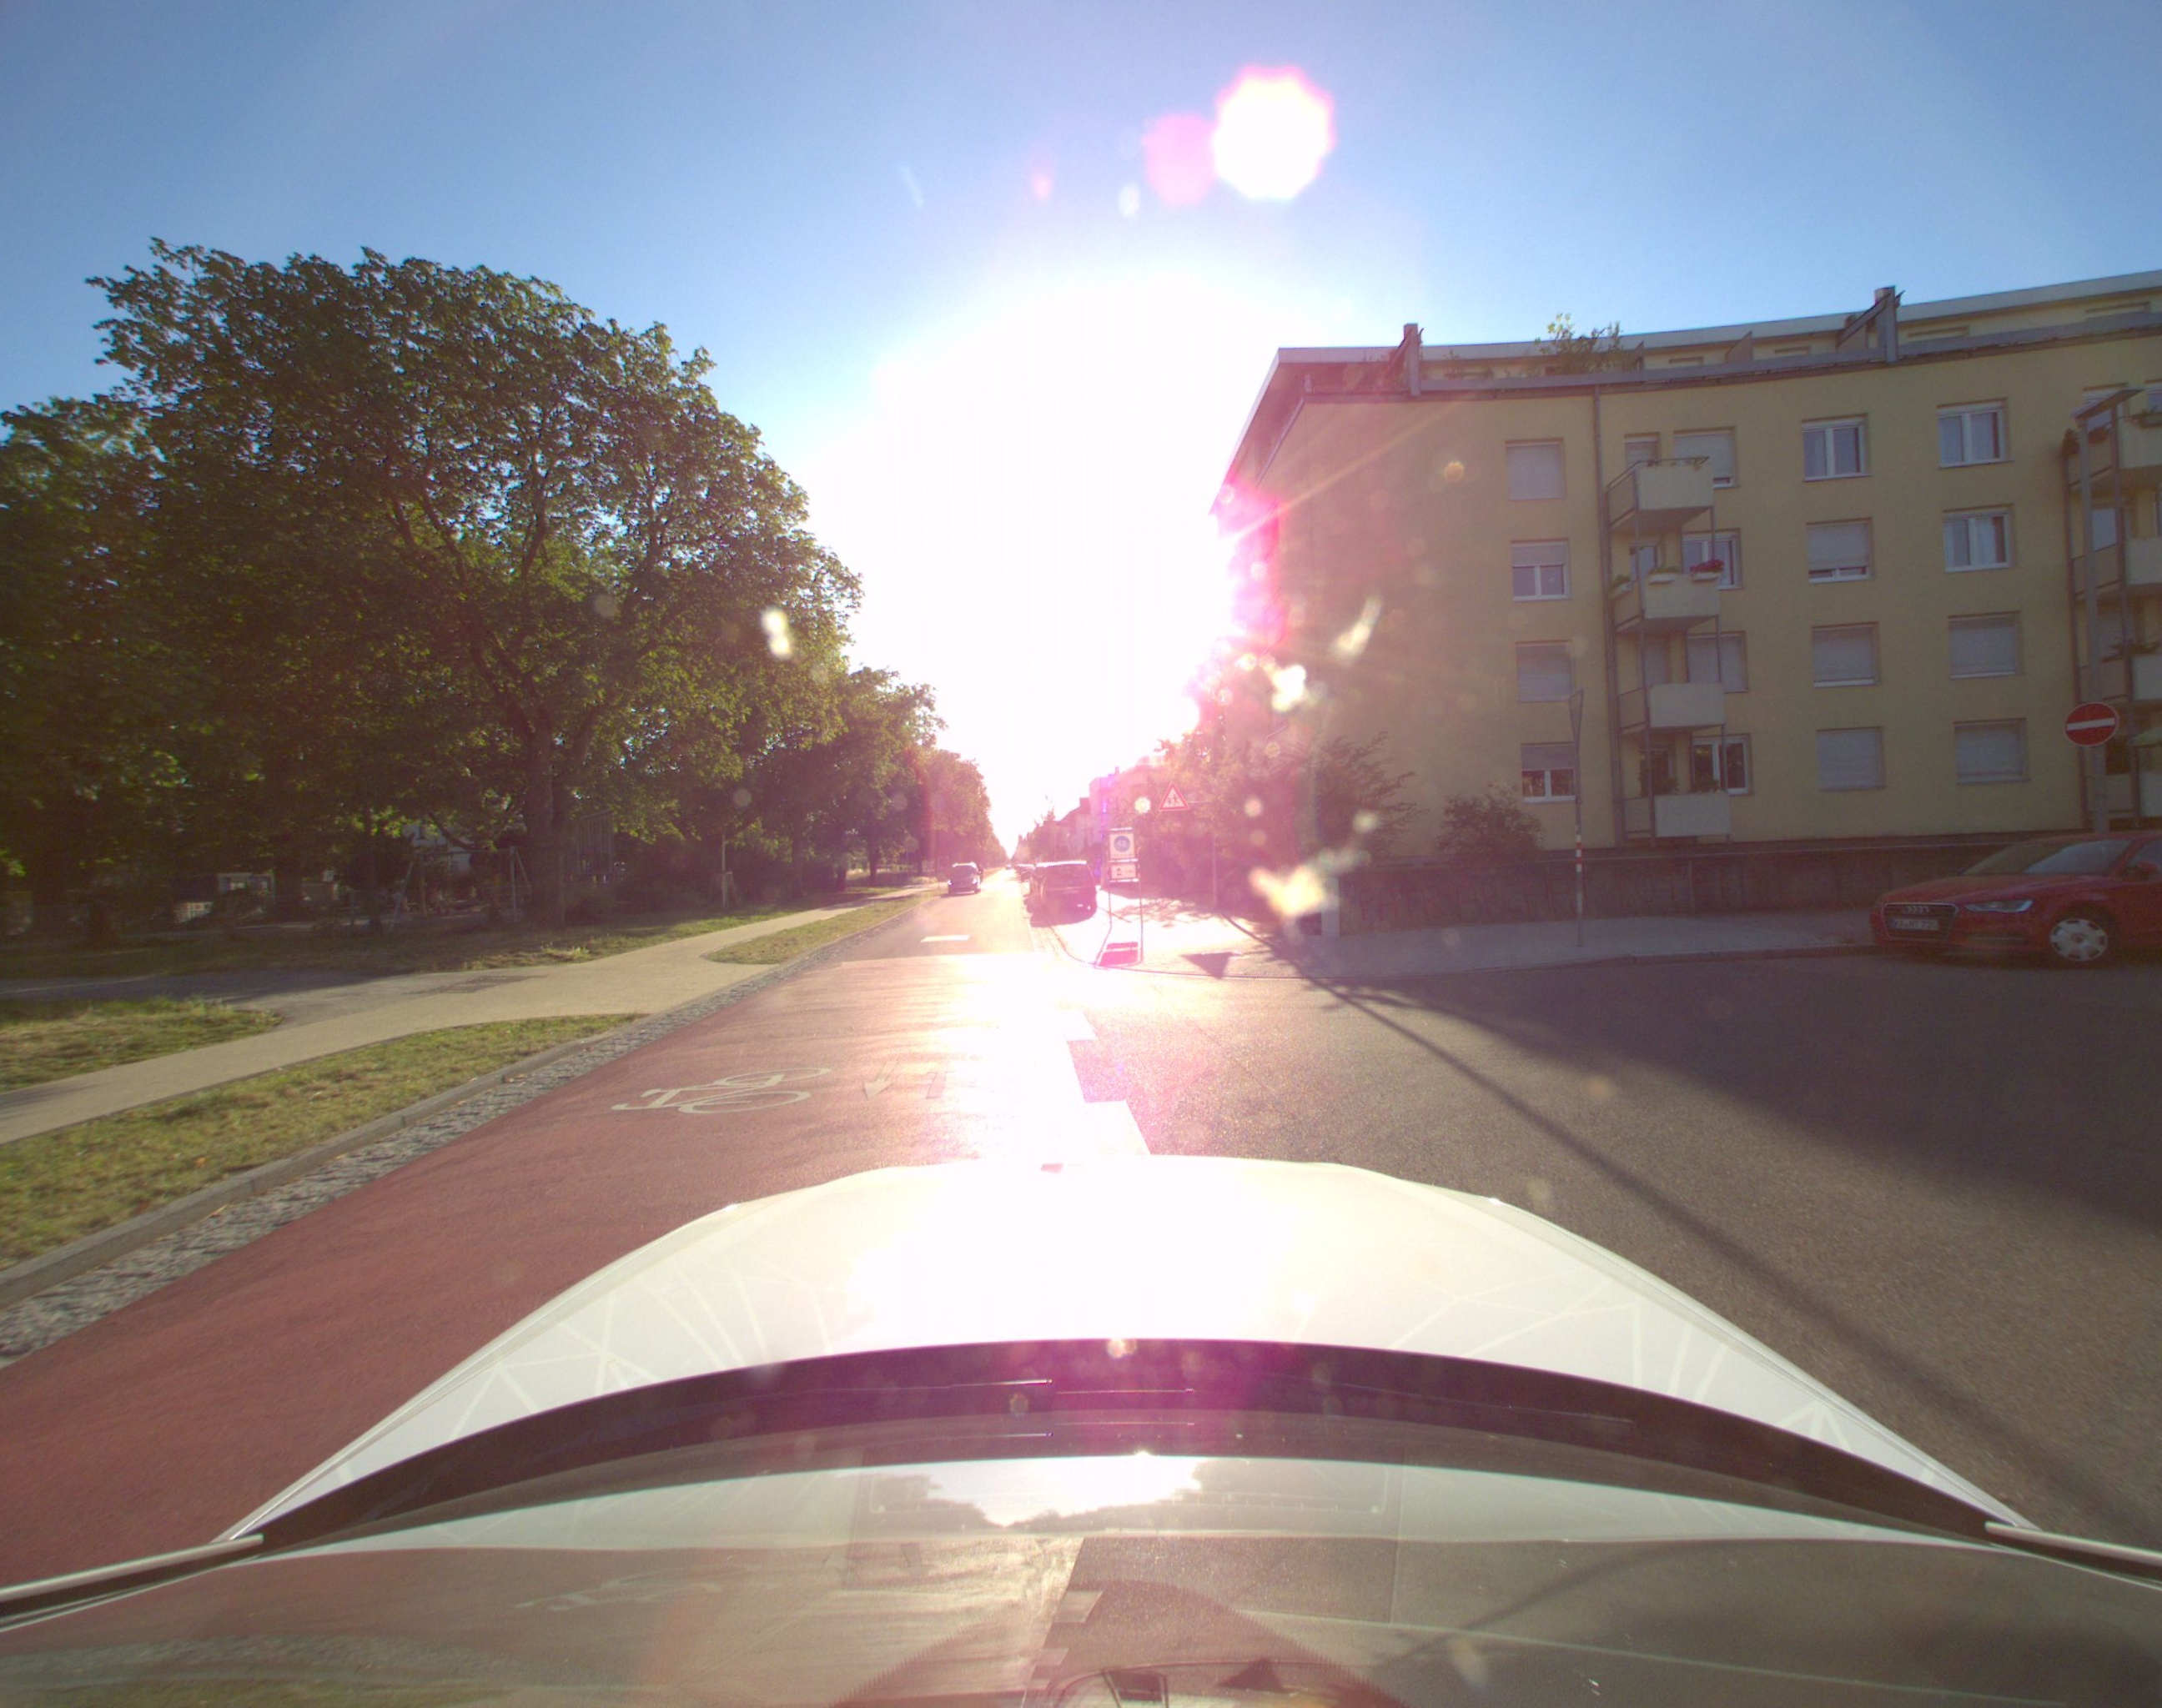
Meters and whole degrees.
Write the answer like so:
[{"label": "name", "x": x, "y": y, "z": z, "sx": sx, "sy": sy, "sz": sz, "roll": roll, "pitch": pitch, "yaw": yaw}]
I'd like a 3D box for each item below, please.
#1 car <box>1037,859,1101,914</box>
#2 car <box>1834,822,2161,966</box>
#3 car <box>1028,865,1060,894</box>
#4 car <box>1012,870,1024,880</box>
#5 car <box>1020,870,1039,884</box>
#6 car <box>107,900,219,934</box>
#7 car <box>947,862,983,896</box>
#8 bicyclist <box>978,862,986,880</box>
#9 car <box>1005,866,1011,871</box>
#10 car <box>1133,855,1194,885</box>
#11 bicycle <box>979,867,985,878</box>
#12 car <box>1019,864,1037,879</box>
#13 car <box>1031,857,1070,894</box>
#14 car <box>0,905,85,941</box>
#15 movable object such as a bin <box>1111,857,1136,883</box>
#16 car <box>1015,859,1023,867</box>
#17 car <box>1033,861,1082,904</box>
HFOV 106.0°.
[{"label": "car", "x": -0.485, "y": 1.032, "z": 27.687, "sx": 1.708, "sy": 1.610, "sz": 4.159, "roll": -4, "pitch": 0, "yaw": -6}, {"label": "car", "x": 11.427, "y": 0.411, "z": 9.317, "sx": 4.024, "sy": 1.420, "sz": 1.787, "roll": -2, "pitch": -3, "yaw": -3}, {"label": "car", "x": -2.065, "y": 1.367, "z": 44.640, "sx": 1.561, "sy": 1.390, "sz": 4.367, "roll": -4, "pitch": 0, "yaw": -5}, {"label": "car", "x": -9.993, "y": 3.325, "z": 128.484, "sx": 1.735, "sy": 1.449, "sz": 4.187, "roll": -4, "pitch": -1, "yaw": -6}, {"label": "car", "x": -5.117, "y": 2.273, "z": 81.104, "sx": 1.772, "sy": 1.288, "sz": 4.265, "roll": -2, "pitch": 0, "yaw": -5}, {"label": "car", "x": -46.308, "y": 3.160, "z": 41.208, "sx": 1.519, "sy": 1.367, "sz": 3.747, "roll": -2, "pitch": 0, "yaw": -4}, {"label": "car", "x": -6.980, "y": 1.486, "z": 49.210, "sx": 1.842, "sy": 1.847, "sz": 4.563, "roll": -4, "pitch": -1, "yaw": -6}, {"label": "bicyclist", "x": -9.807, "y": 1.666, "z": 80.472, "sx": 0.680, "sy": 1.673, "sz": 1.170, "roll": -3, "pitch": -1, "yaw": -6}, {"label": "car", "x": -21.001, "y": 4.220, "z": 234.506, "sx": 1.649, "sy": 1.541, "sz": 3.260, "roll": -1, "pitch": -1, "yaw": -5}, {"label": "car", "x": 4.924, "y": 0.958, "z": 48.994, "sx": 3.479, "sy": 1.642, "sz": 1.644, "roll": -2, "pitch": -1, "yaw": 2}, {"label": "bicycle", "x": -9.791, "y": 1.831, "z": 80.509, "sx": 0.555, "sy": 1.032, "sz": 1.911, "roll": -3, "pitch": -1, "yaw": -5}, {"label": "car", "x": -6.072, "y": 1.940, "z": 92.542, "sx": 1.742, "sy": 1.474, "sz": 3.913, "roll": -5, "pitch": 0, "yaw": -6}, {"label": "car", "x": -1.522, "y": 1.004, "z": 39.031, "sx": 1.675, "sy": 1.555, "sz": 4.124, "roll": -4, "pitch": 0, "yaw": -4}, {"label": "car", "x": -46.101, "y": 3.002, "z": 35.231, "sx": 1.519, "sy": 1.367, "sz": 3.747, "roll": -2, "pitch": 0, "yaw": -4}, {"label": "movable object such as a bin", "x": 2.395, "y": 0.892, "z": 45.773, "sx": 1.234, "sy": 1.432, "sz": 1.121, "roll": -2, "pitch": -1, "yaw": -3}, {"label": "car", "x": -13.497, "y": 2.020, "z": 177.730, "sx": 1.495, "sy": 1.567, "sz": 3.262, "roll": -3, "pitch": -1, "yaw": -4}, {"label": "car", "x": -1.021, "y": 1.131, "z": 33.608, "sx": 1.676, "sy": 1.555, "sz": 4.136, "roll": -4, "pitch": 0, "yaw": -5}]
